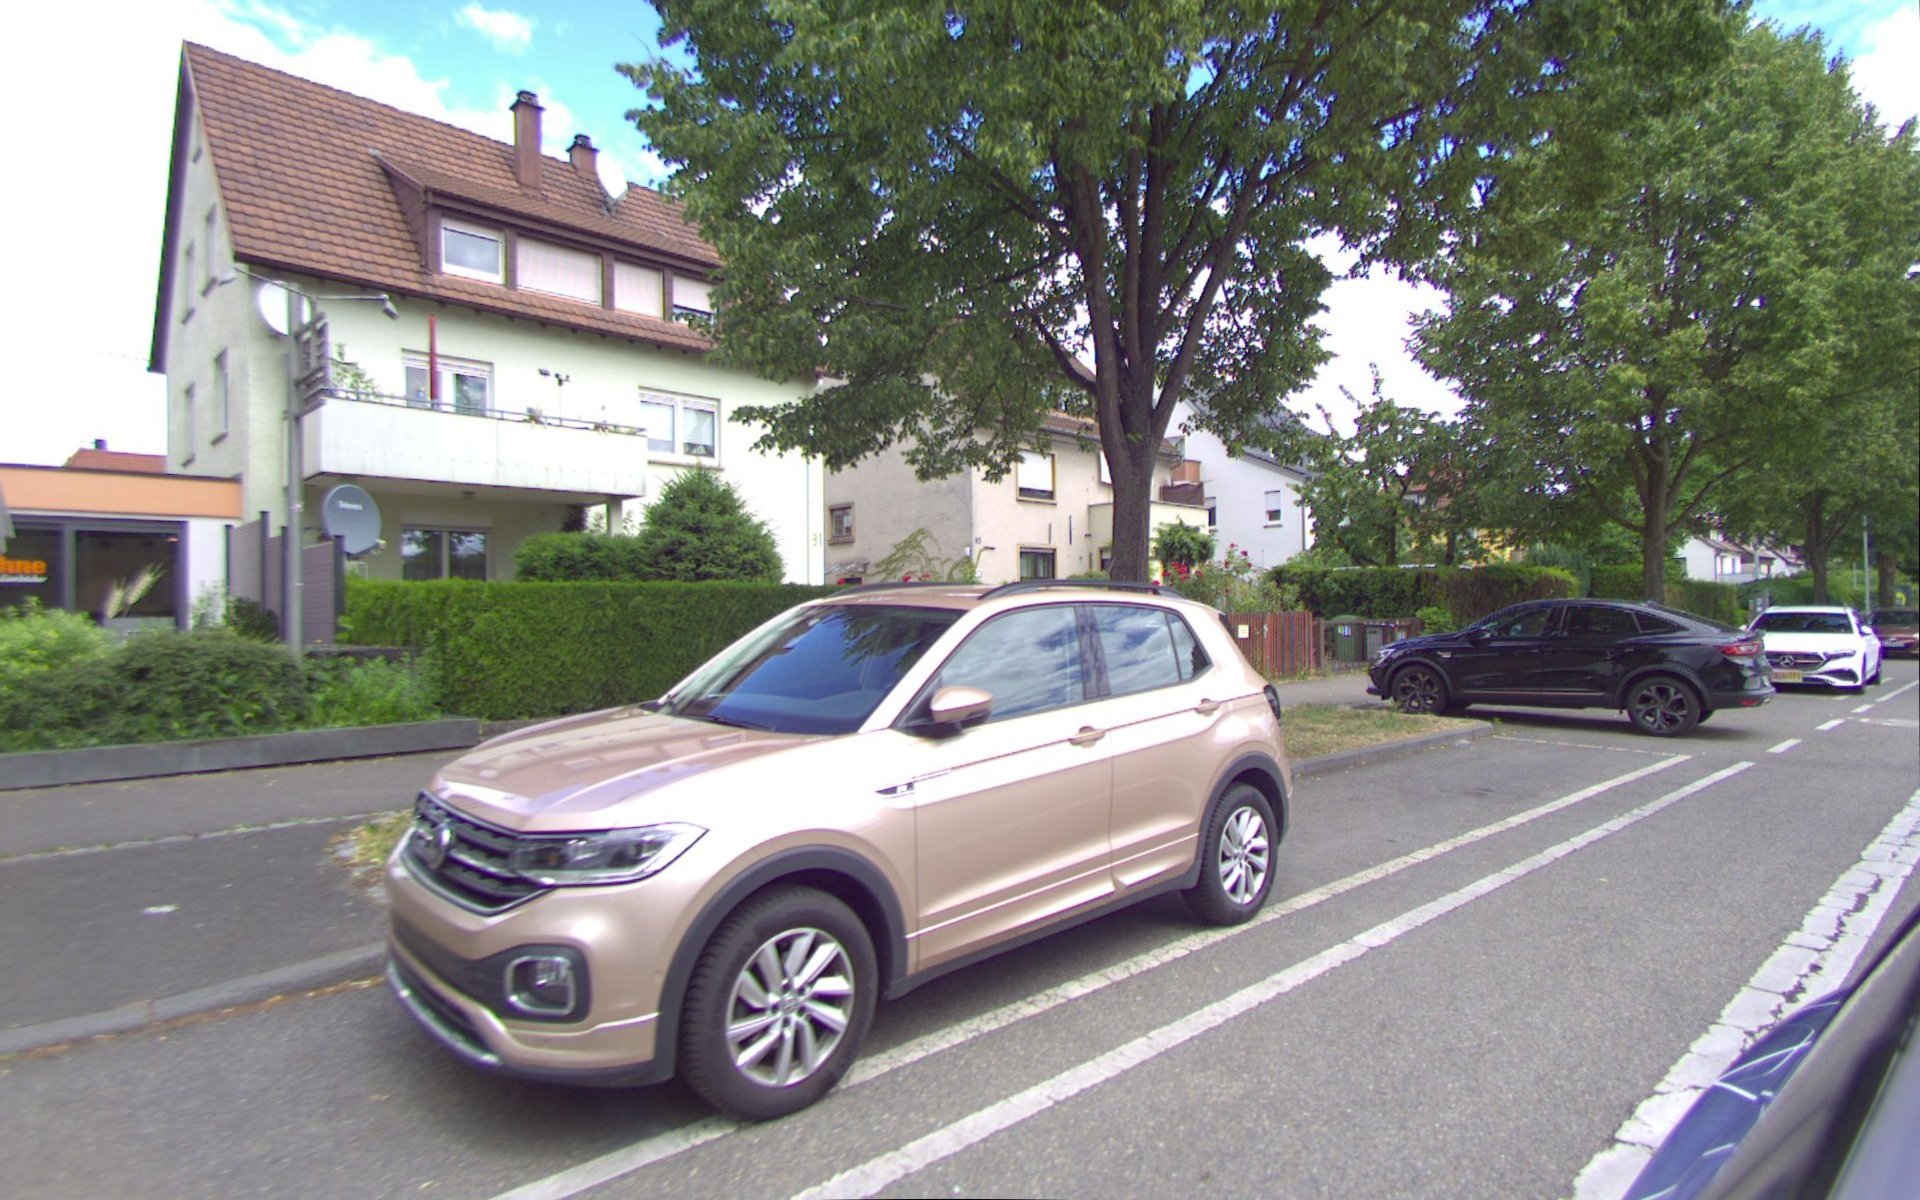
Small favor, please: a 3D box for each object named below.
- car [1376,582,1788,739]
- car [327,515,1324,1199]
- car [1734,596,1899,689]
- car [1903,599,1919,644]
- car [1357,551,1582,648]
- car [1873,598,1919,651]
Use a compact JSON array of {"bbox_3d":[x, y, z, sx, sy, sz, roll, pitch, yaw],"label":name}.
[{"bbox_3d":[7.710,0.615,12.829,4.217,1.658,1.667,1,0,44],"label":"car"},{"bbox_3d":[-0.196,0.608,4.315,3.994,1.600,1.723,0,0,-44],"label":"car"},{"bbox_3d":[15.849,0.679,18.640,4.731,1.493,1.807,0,0,-43],"label":"car"},{"bbox_3d":[33.249,0.690,34.305,3.605,1.474,1.567,0,0,-42],"label":"car"},{"bbox_3d":[15.065,0.014,30.218,5.714,2.625,1.965,0,-1,45],"label":"car"},{"bbox_3d":[27.947,0.682,29.449,4.106,1.434,1.655,0,1,-43],"label":"car"}]
